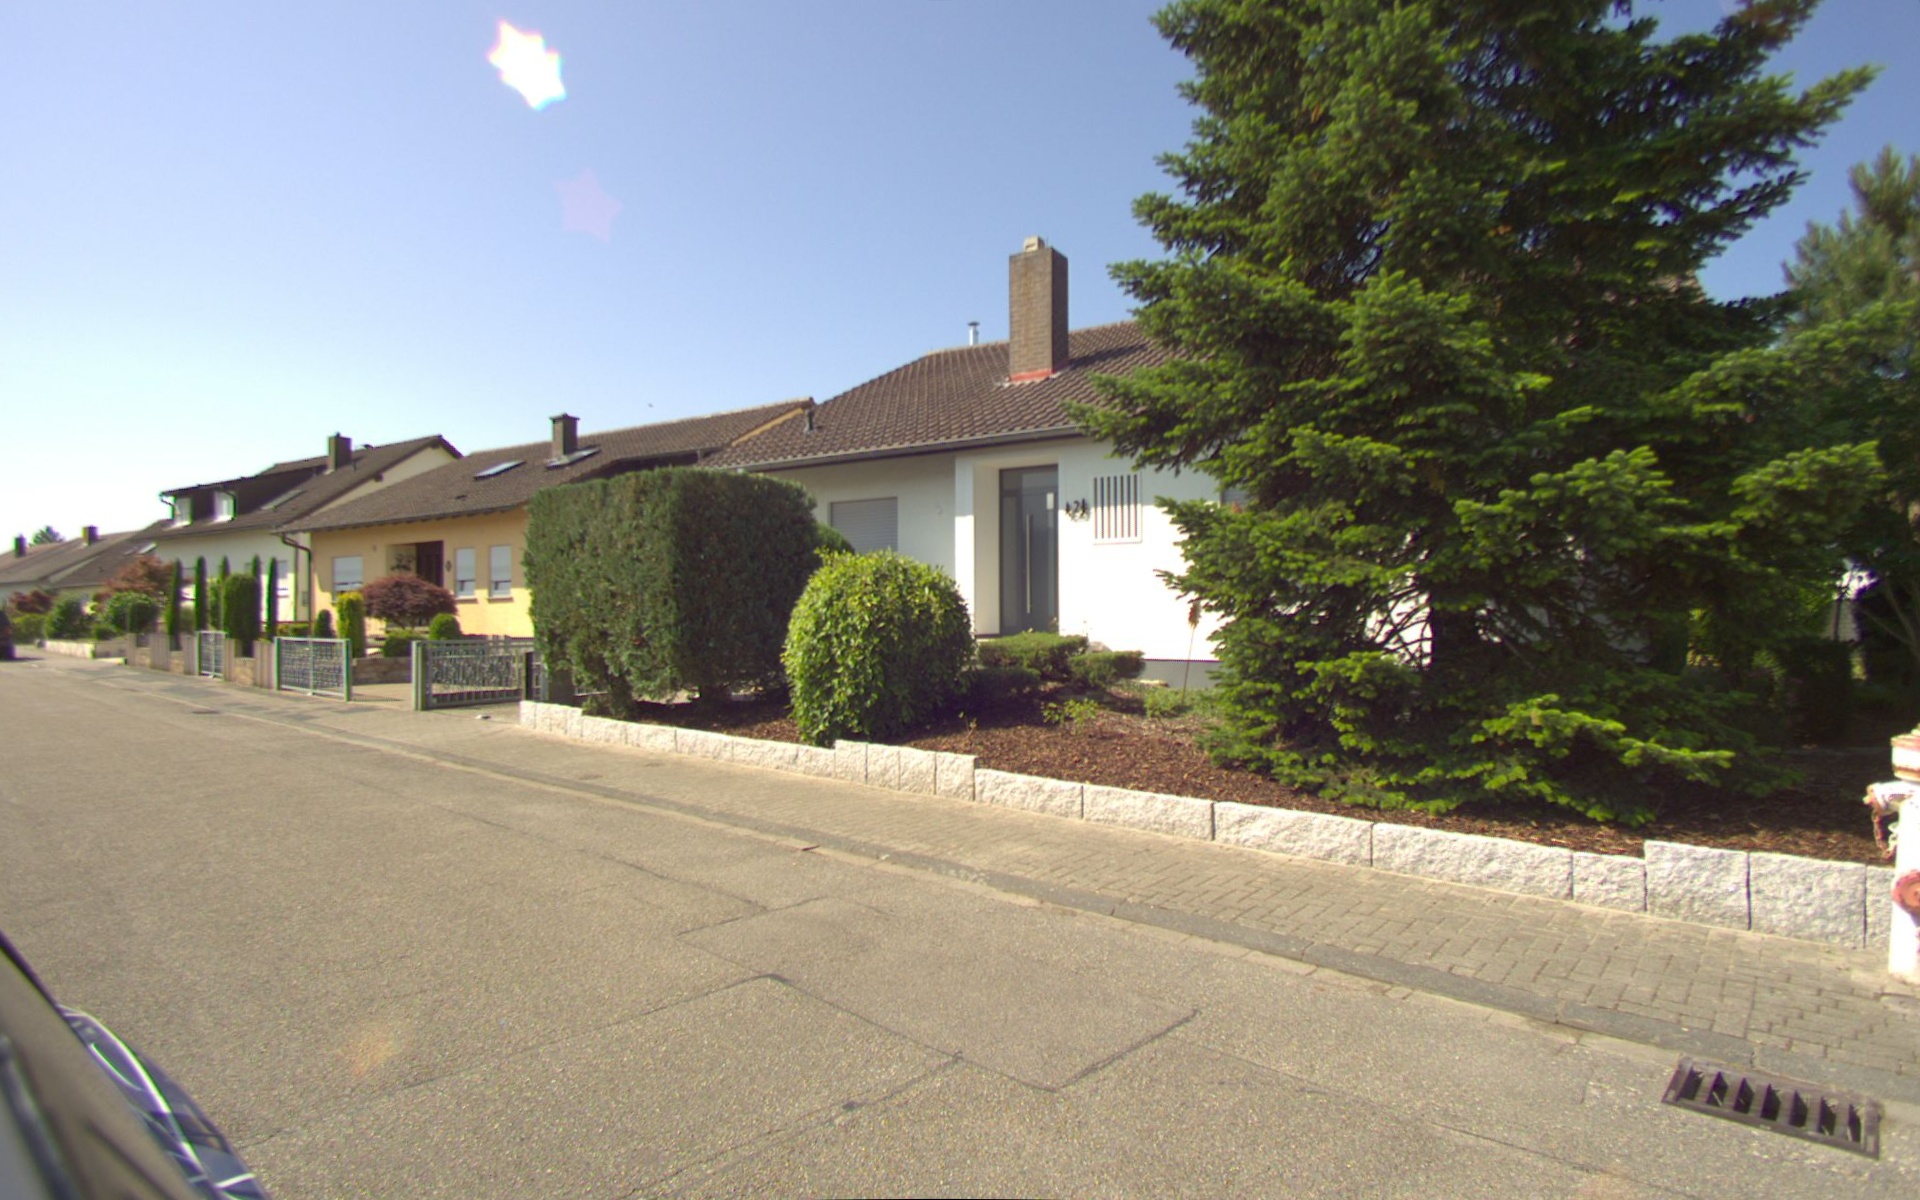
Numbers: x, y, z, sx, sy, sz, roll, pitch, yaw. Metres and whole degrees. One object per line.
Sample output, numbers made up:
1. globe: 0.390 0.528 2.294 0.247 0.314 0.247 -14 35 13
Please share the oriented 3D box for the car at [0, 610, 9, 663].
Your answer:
1. car: -34.113 1.249 34.806 3.651 1.791 1.746 -1 -1 42
